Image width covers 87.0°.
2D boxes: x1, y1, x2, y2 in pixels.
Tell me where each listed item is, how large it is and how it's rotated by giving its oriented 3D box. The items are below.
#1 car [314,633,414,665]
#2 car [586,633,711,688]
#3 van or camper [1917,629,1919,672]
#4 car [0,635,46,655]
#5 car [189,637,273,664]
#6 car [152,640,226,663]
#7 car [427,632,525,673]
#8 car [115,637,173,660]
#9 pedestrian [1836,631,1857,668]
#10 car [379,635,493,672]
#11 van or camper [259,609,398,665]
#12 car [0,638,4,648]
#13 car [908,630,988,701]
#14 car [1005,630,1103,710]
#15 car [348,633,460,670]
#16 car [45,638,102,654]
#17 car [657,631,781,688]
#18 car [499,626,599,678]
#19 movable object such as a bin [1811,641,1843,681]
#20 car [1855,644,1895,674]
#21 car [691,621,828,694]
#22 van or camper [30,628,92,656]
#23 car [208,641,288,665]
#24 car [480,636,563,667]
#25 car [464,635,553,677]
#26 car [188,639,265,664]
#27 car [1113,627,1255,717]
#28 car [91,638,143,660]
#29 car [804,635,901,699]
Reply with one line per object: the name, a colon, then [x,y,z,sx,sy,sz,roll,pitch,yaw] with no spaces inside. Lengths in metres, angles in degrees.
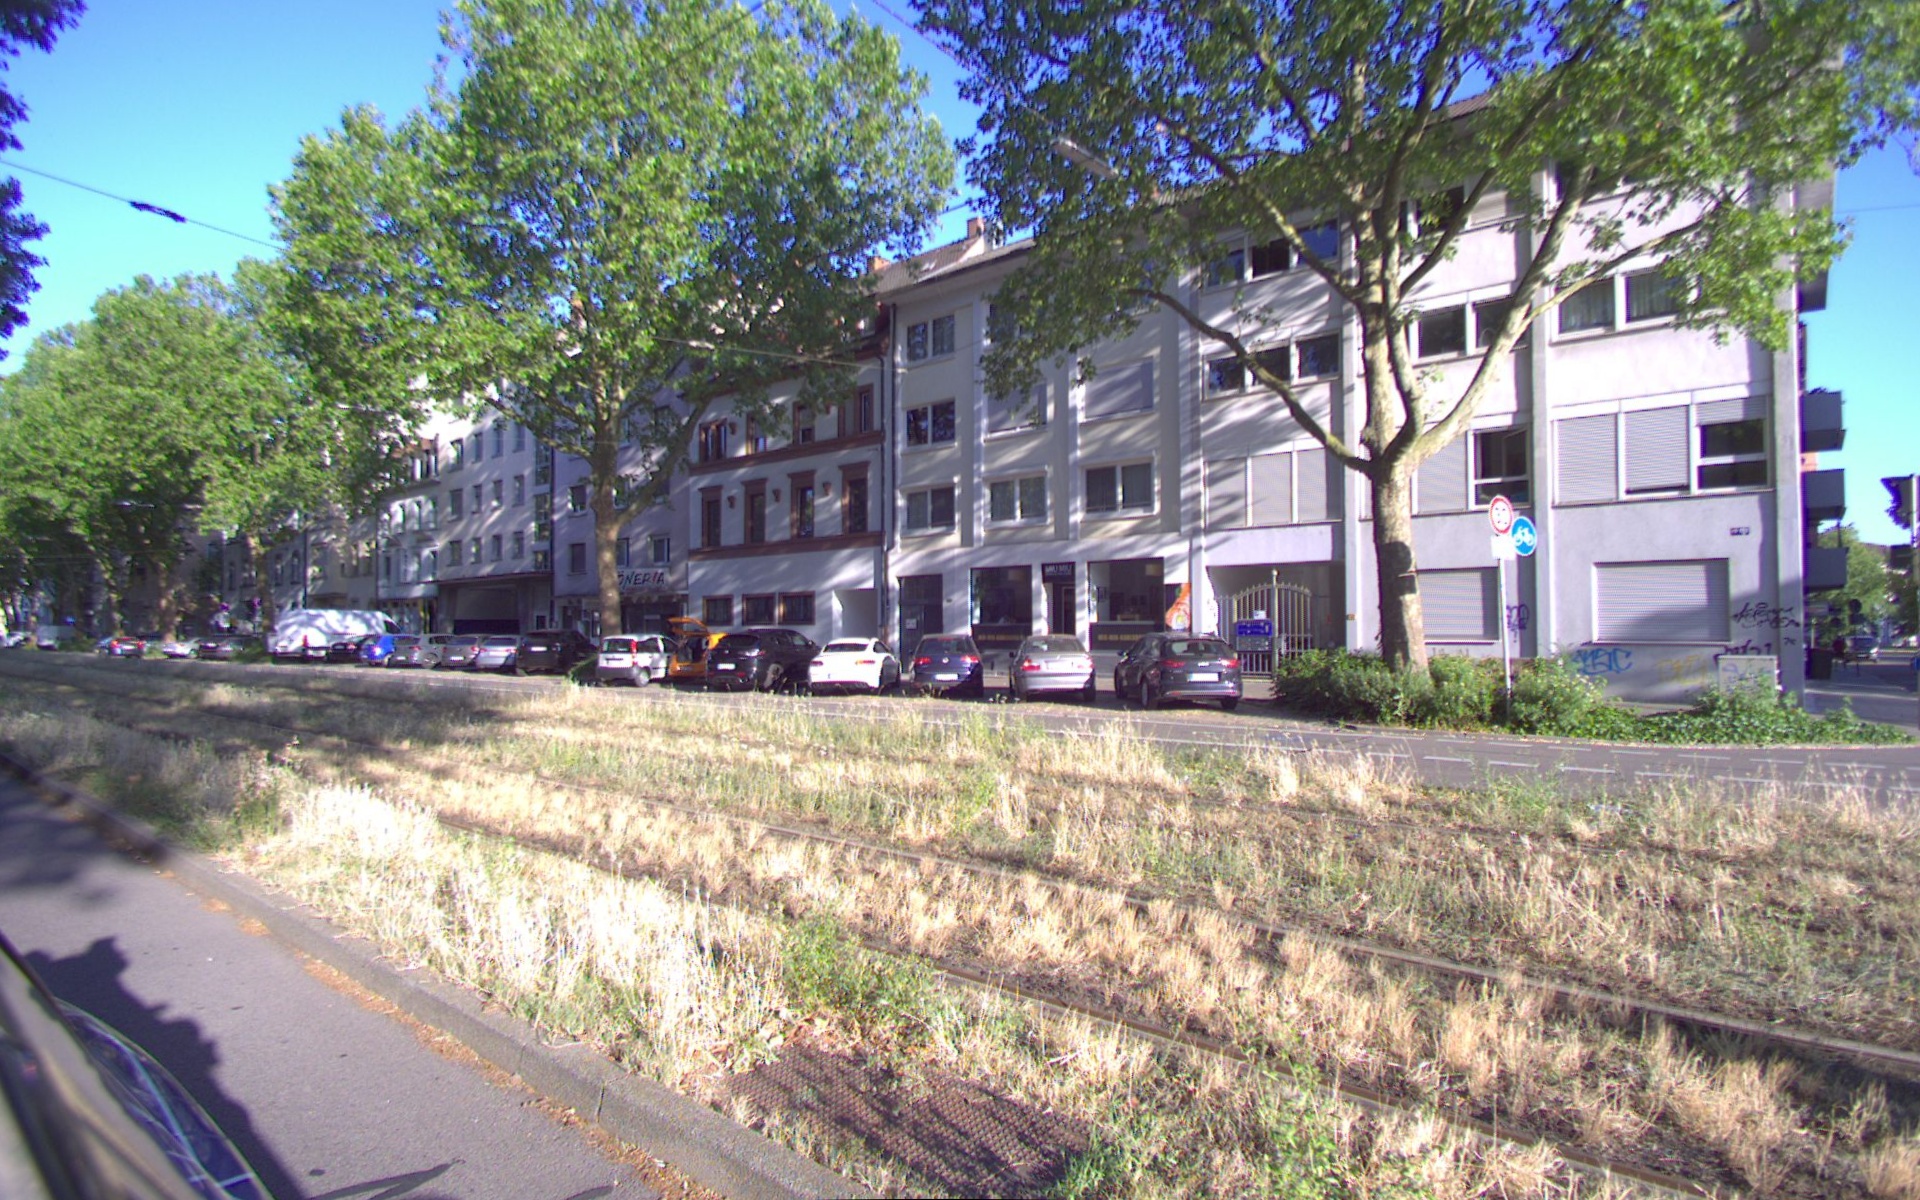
car: [-29.612,2.427,50.399,1.984,1.502,3.975,-1,-3,18]
car: [-9.365,1.778,30.804,1.643,1.460,4.344,-1,-1,14]
van or camper: [48.136,2.411,48.345,5.046,2.029,2.006,1,-2,-29]
car: [-106.128,5.080,114.414,1.971,2.029,4.002,-1,0,-2]
car: [-44.374,3.103,61.709,1.912,1.605,4.155,0,-4,4]
car: [-50.621,3.382,66.513,1.806,1.400,3.670,-1,-2,9]
car: [-19.423,2.079,40.793,1.735,1.433,3.992,-1,0,6]
car: [-62.325,3.707,77.397,1.703,1.666,4.008,-1,-2,-10]
pedestrian: [43.305,2.402,49.439,0.688,1.764,0.634,-2,-3,38]
car: [-22.480,2.278,43.564,1.941,1.503,3.963,-1,-2,27]
van or camper: [-31.979,1.890,51.516,2.162,2.666,5.928,-1,-2,20]
car: [-140.850,6.304,147.505,4.000,1.431,1.972,-2,0,43]
car: [-0.354,1.530,24.776,1.776,1.452,4.002,-1,0,-2]
car: [1.982,1.467,22.367,1.698,1.452,4.000,-1,0,0]
car: [-24.849,2.284,45.330,1.854,1.431,3.951,-2,0,36]
car: [-84.798,4.398,96.913,1.709,1.256,3.993,-1,1,6]
car: [-7.263,1.759,30.899,1.764,1.490,3.973,-1,0,20]
car: [-14.576,1.802,36.136,1.972,1.673,4.000,-1,-1,-1]
movable object such as a bin: [28.931,2.024,33.782,0.745,1.315,0.860,-2,-3,39]
car: [64.544,4.116,71.436,1.999,2.029,3.945,-2,-3,41]
car: [-5.368,1.575,27.707,1.975,1.800,4.343,0,-3,14]
van or camper: [-87.102,4.003,98.123,2.171,2.418,4.364,-1,1,0]
car: [-41.849,3.108,59.604,1.778,1.368,4.002,0,-3,3]
car: [-25.122,2.911,58.132,1.904,1.733,3.947,-2,-3,39]
car: [-17.187,2.115,38.701,1.883,1.396,4.004,-1,-1,-4]
car: [-46.568,3.304,64.340,1.803,1.545,3.994,0,-4,4]
car: [4.374,1.359,20.374,1.791,1.490,4.002,-1,0,-2]
car: [-55.442,3.233,66.547,4.480,1.400,1.802,-2,-5,40]
car: [-2.645,1.642,25.788,1.700,1.343,4.200,-1,0,4]
